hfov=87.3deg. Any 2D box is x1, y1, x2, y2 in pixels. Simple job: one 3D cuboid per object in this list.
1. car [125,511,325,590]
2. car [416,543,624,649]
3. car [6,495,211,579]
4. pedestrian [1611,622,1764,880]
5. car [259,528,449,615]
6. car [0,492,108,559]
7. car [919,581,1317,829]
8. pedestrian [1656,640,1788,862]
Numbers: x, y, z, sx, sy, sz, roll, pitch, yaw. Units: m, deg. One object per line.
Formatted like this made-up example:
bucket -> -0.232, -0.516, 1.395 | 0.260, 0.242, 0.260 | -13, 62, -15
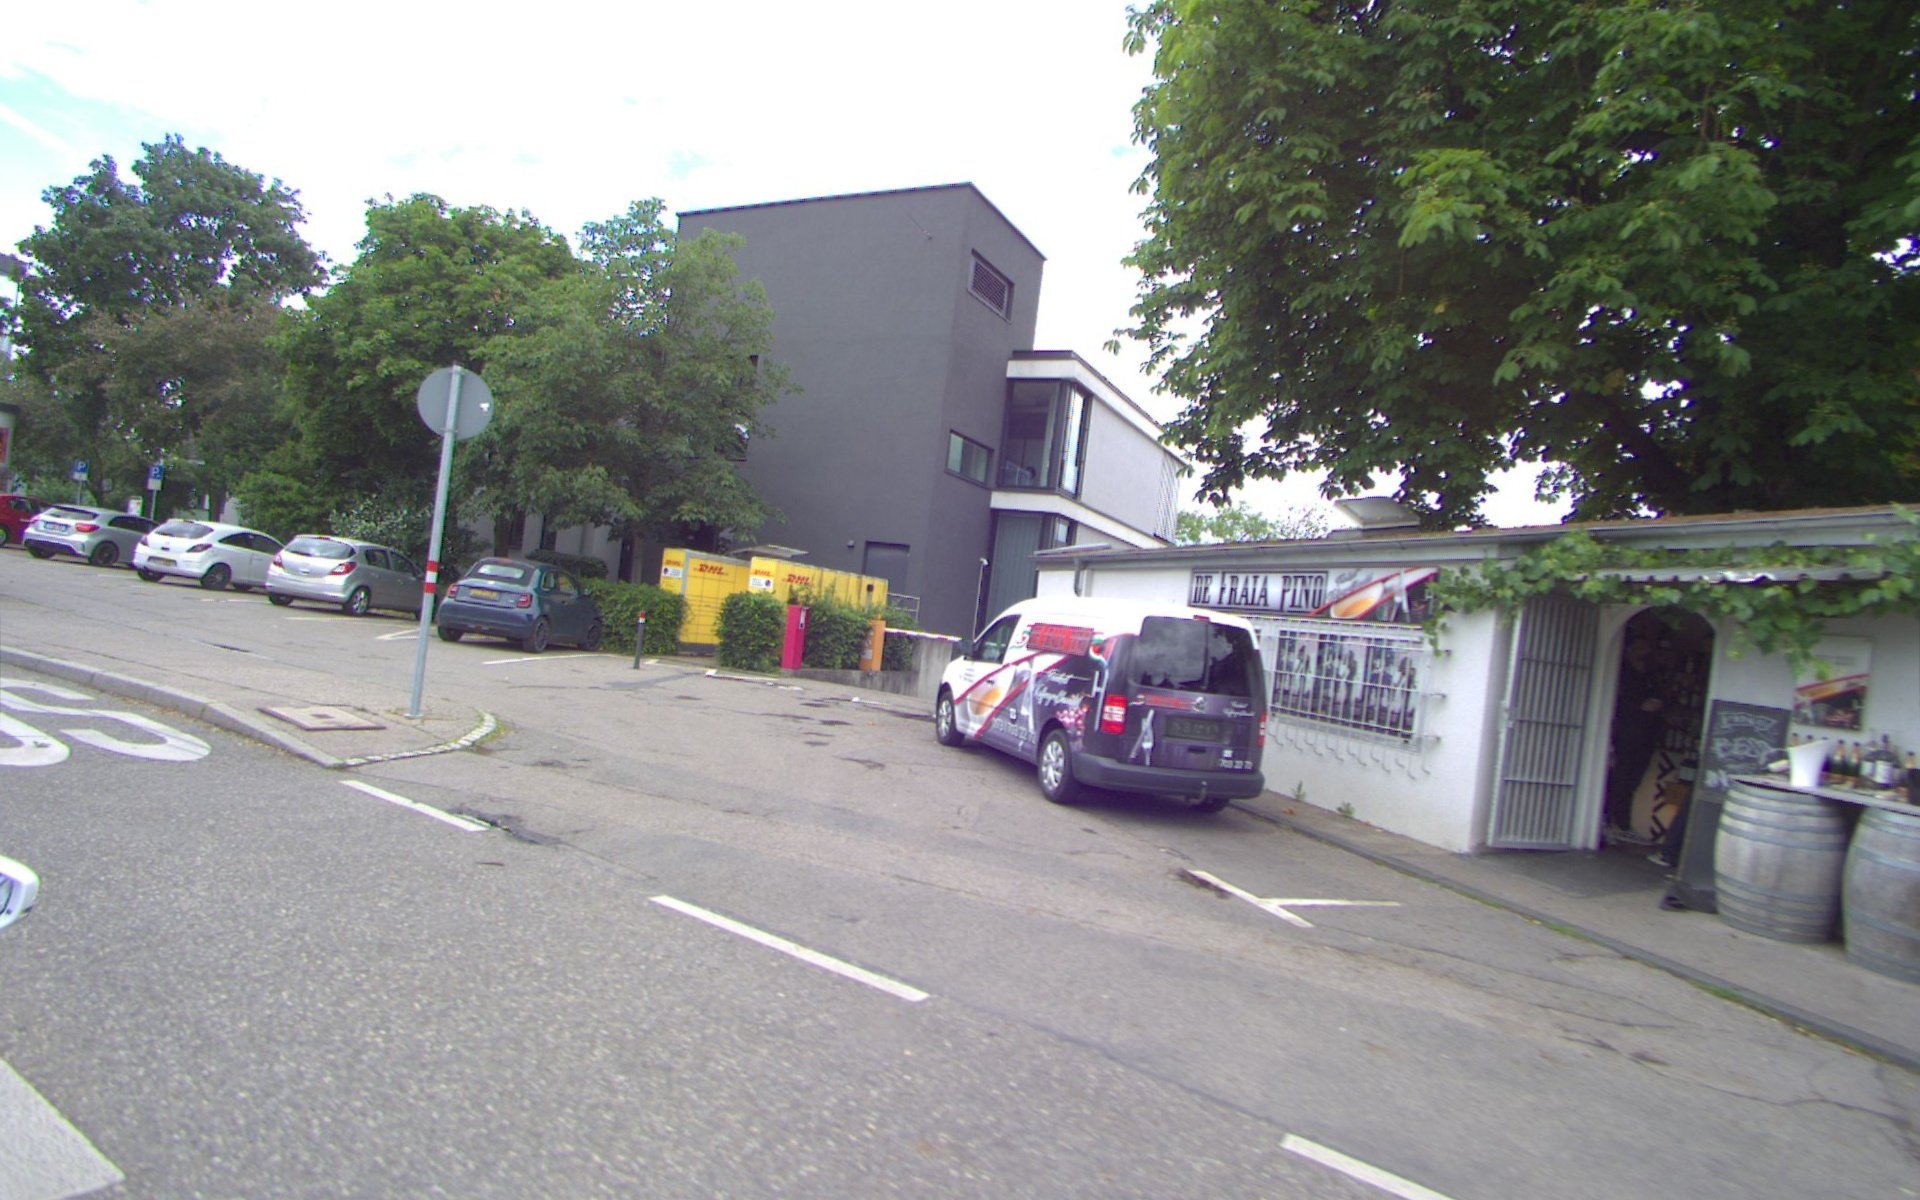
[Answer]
car -> -16.522, -1.050, 22.834 | 1.561, 1.453, 3.650 | 5, 0, 5
car -> -7.776, -0.016, 18.261 | 1.845, 1.494, 4.001 | 7, -1, 1
car -> -21.600, -1.536, 25.757 | 1.764, 1.490, 3.809 | 7, -3, 2
pedestrian -> 5.770, 1.168, 7.985 | 0.682, 1.882, 0.616 | 6, 3, -42
car -> -12.206, -0.512, 20.542 | 1.519, 1.394, 3.517 | 8, 0, 2
car -> -26.228, -2.150, 28.042 | 1.649, 1.471, 3.508 | 7, -2, 4
car -> 1.244, 0.842, 10.279 | 1.825, 1.770, 4.674 | 7, 0, -20
pedestrian -> 6.692, 1.296, 8.855 | 0.667, 1.782, 0.684 | 10, 3, 38
